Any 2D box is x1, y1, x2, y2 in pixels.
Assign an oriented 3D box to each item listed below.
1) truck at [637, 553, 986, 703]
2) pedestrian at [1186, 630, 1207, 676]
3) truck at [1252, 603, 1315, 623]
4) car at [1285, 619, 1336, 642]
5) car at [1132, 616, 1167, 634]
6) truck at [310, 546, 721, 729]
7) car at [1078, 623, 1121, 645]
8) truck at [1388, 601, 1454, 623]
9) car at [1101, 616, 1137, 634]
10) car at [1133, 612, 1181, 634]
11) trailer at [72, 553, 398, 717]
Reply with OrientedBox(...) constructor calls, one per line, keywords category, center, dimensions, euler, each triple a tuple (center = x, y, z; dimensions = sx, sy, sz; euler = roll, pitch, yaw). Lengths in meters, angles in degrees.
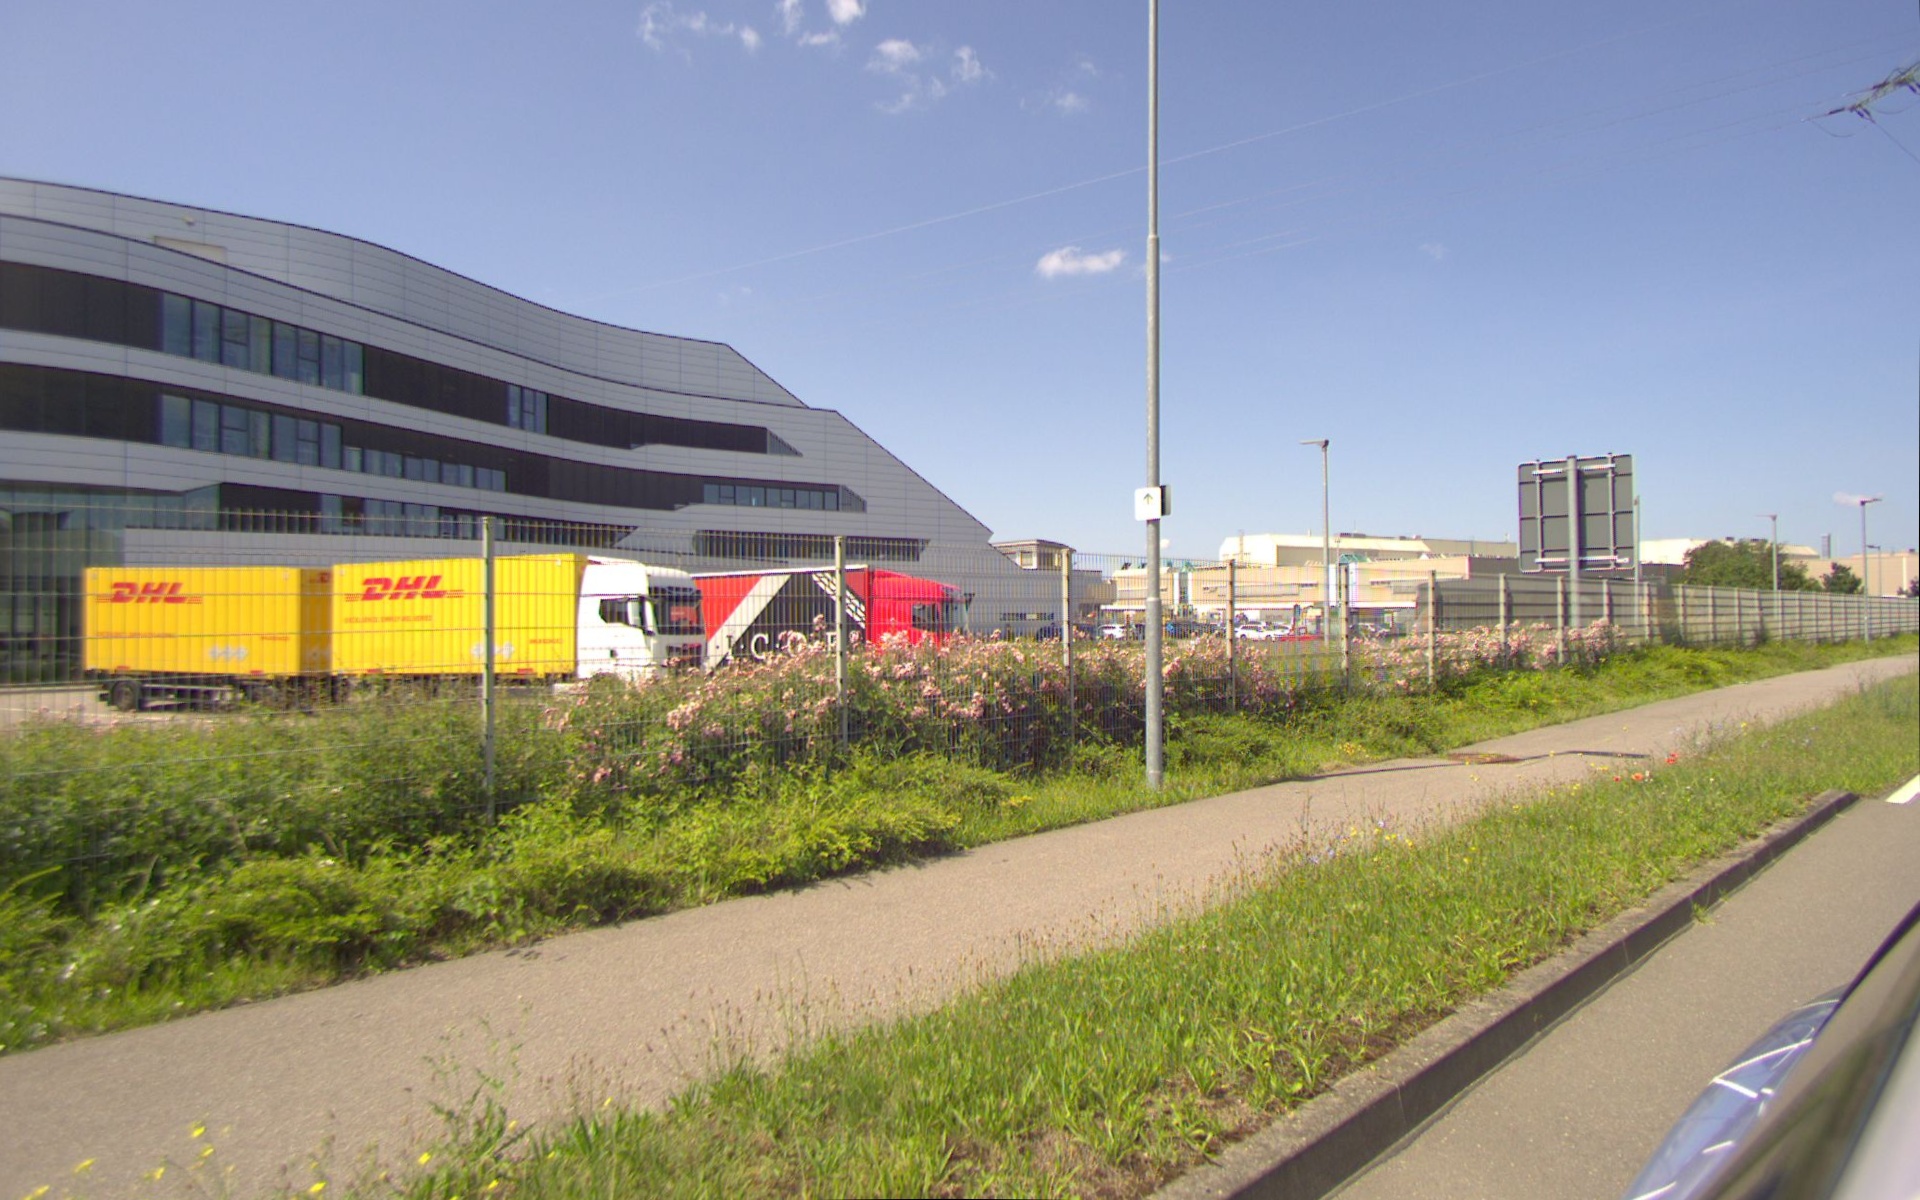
OrientedBox(category="truck", center=(-4.773, 0.777, 32.192), dimensions=(10.827, 4.310, 3.012), euler=(0, 0, 18))
OrientedBox(category="pedestrian", center=(8.935, 1.999, 38.286), dimensions=(0.563, 1.674, 0.484), euler=(0, -2, -36))
OrientedBox(category="truck", center=(51.897, 2.046, 162.170), dimensions=(11.612, 3.178, 2.002), euler=(0, -2, -29))
OrientedBox(category="car", center=(25.140, 2.166, 72.653), dimensions=(1.427, 1.554, 3.152), euler=(0, -1, -34))
OrientedBox(category="car", center=(17.535, 2.319, 93.720), dimensions=(1.443, 1.554, 3.057), euler=(0, -1, -34))
OrientedBox(category="truck", center=(-11.695, 0.845, 26.447), dimensions=(10.830, 4.225, 2.806), euler=(0, 0, 19))
OrientedBox(category="car", center=(10.259, 2.458, 74.599), dimensions=(1.443, 1.554, 3.057), euler=(0, -1, -34))
OrientedBox(category="truck", center=(65.926, 1.636, 144.627), dimensions=(11.612, 3.000, 2.002), euler=(0, -2, -29))
OrientedBox(category="car", center=(14.127, 2.214, 90.061), dimensions=(1.443, 1.554, 3.057), euler=(0, -1, -34))
OrientedBox(category="car", center=(19.410, 2.308, 99.987), dimensions=(1.960, 2.040, 4.756), euler=(0, -2, -30))
OrientedBox(category="trailer", center=(-20.895, 0.902, 29.246), dimensions=(8.588, 4.350, 2.889), euler=(0, 0, 15))
